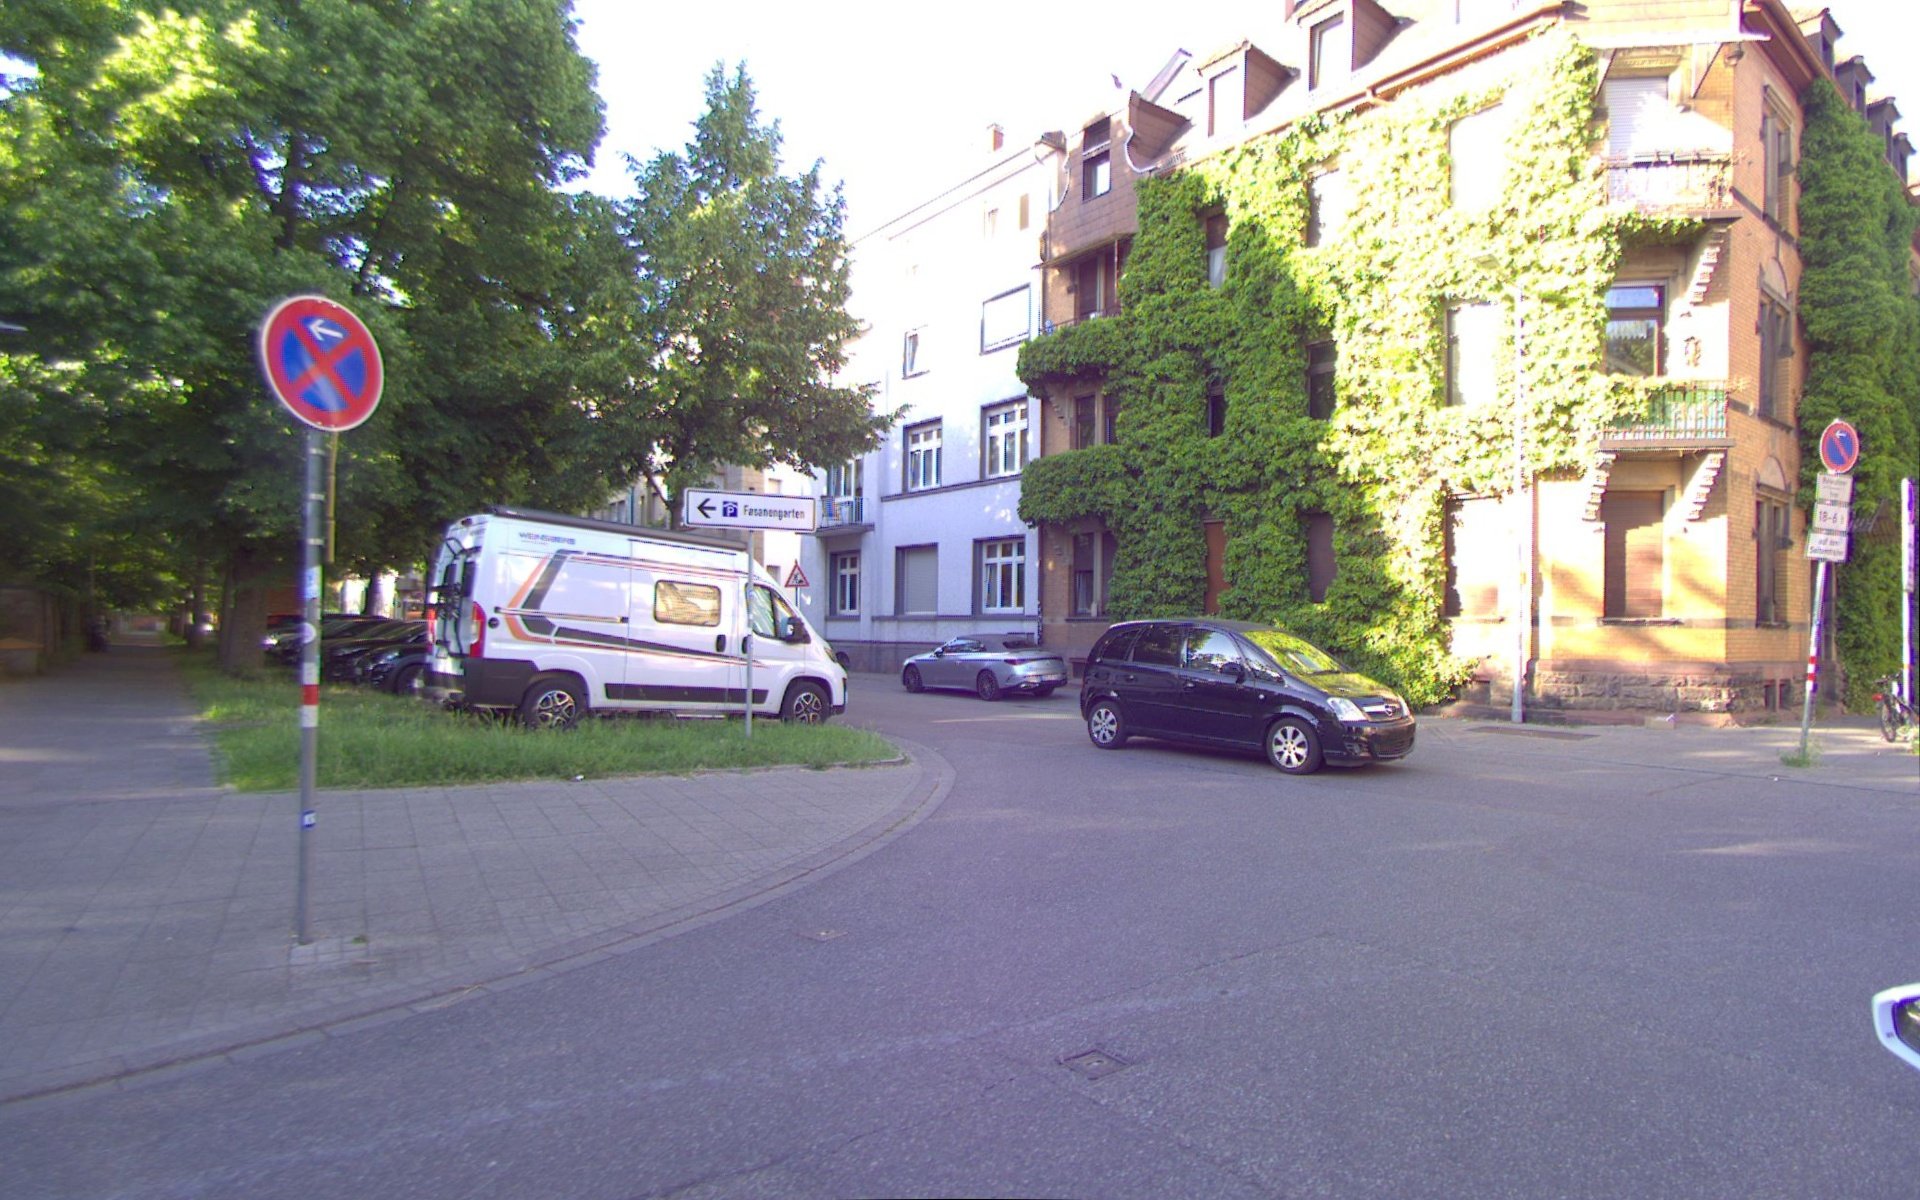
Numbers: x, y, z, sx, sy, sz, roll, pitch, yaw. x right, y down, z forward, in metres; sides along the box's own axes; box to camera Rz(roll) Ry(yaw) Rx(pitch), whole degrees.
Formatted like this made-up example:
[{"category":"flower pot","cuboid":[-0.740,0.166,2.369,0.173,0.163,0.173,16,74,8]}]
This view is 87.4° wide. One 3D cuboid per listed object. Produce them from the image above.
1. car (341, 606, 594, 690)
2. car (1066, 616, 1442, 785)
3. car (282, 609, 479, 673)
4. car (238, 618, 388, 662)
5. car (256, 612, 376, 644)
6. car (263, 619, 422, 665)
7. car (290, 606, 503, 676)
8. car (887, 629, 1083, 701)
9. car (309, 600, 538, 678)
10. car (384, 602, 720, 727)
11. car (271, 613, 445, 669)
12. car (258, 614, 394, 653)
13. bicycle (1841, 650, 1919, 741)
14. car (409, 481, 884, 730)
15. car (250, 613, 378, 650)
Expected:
[{"category":"car","cuboid":[-9.074,0.859,18.641,3.850,1.360,1.955,2,-1,-41]},{"category":"car","cuboid":[3.227,0.997,11.675,1.636,1.611,3.973,0,-1,-40]},{"category":"car","cuboid":[-14.045,0.974,24.424,3.850,1.395,1.955,2,-1,-41]},{"category":"car","cuboid":[-20.739,1.279,32.284,3.850,1.273,1.764,2,-1,-41]},{"category":"car","cuboid":[-25.769,1.123,40.246,3.850,1.170,1.764,2,-1,-41]},{"category":"car","cuboid":[-18.608,1.254,30.331,3.850,1.273,1.764,2,-1,-41]},{"category":"car","cuboid":[-12.571,0.906,22.504,3.850,1.395,1.955,2,-1,-41]},{"category":"car","cuboid":[0.468,1.429,23.476,1.867,1.423,4.869,0,-1,-39]},{"category":"car","cuboid":[-11.036,0.789,20.768,3.850,1.461,1.955,2,-2,-41]},{"category":"car","cuboid":[-6.030,0.904,15.109,4.266,1.596,1.955,2,-1,-41]},{"category":"car","cuboid":[-16.633,1.132,27.815,3.850,1.395,1.955,2,-1,-41]},{"category":"car","cuboid":[-22.346,1.191,35.489,3.850,1.273,1.764,2,-1,-41]},{"category":"bicycle","cuboid":[13.896,1.398,15.056,1.584,1.285,0.560,1,-2,-30]},{"category":"car","cuboid":[-3.946,0.133,13.380,5.587,2.649,2.212,2,-1,-41]},{"category":"car","cuboid":[-24.222,1.199,37.724,3.850,1.273,1.764,2,-1,-41]}]
